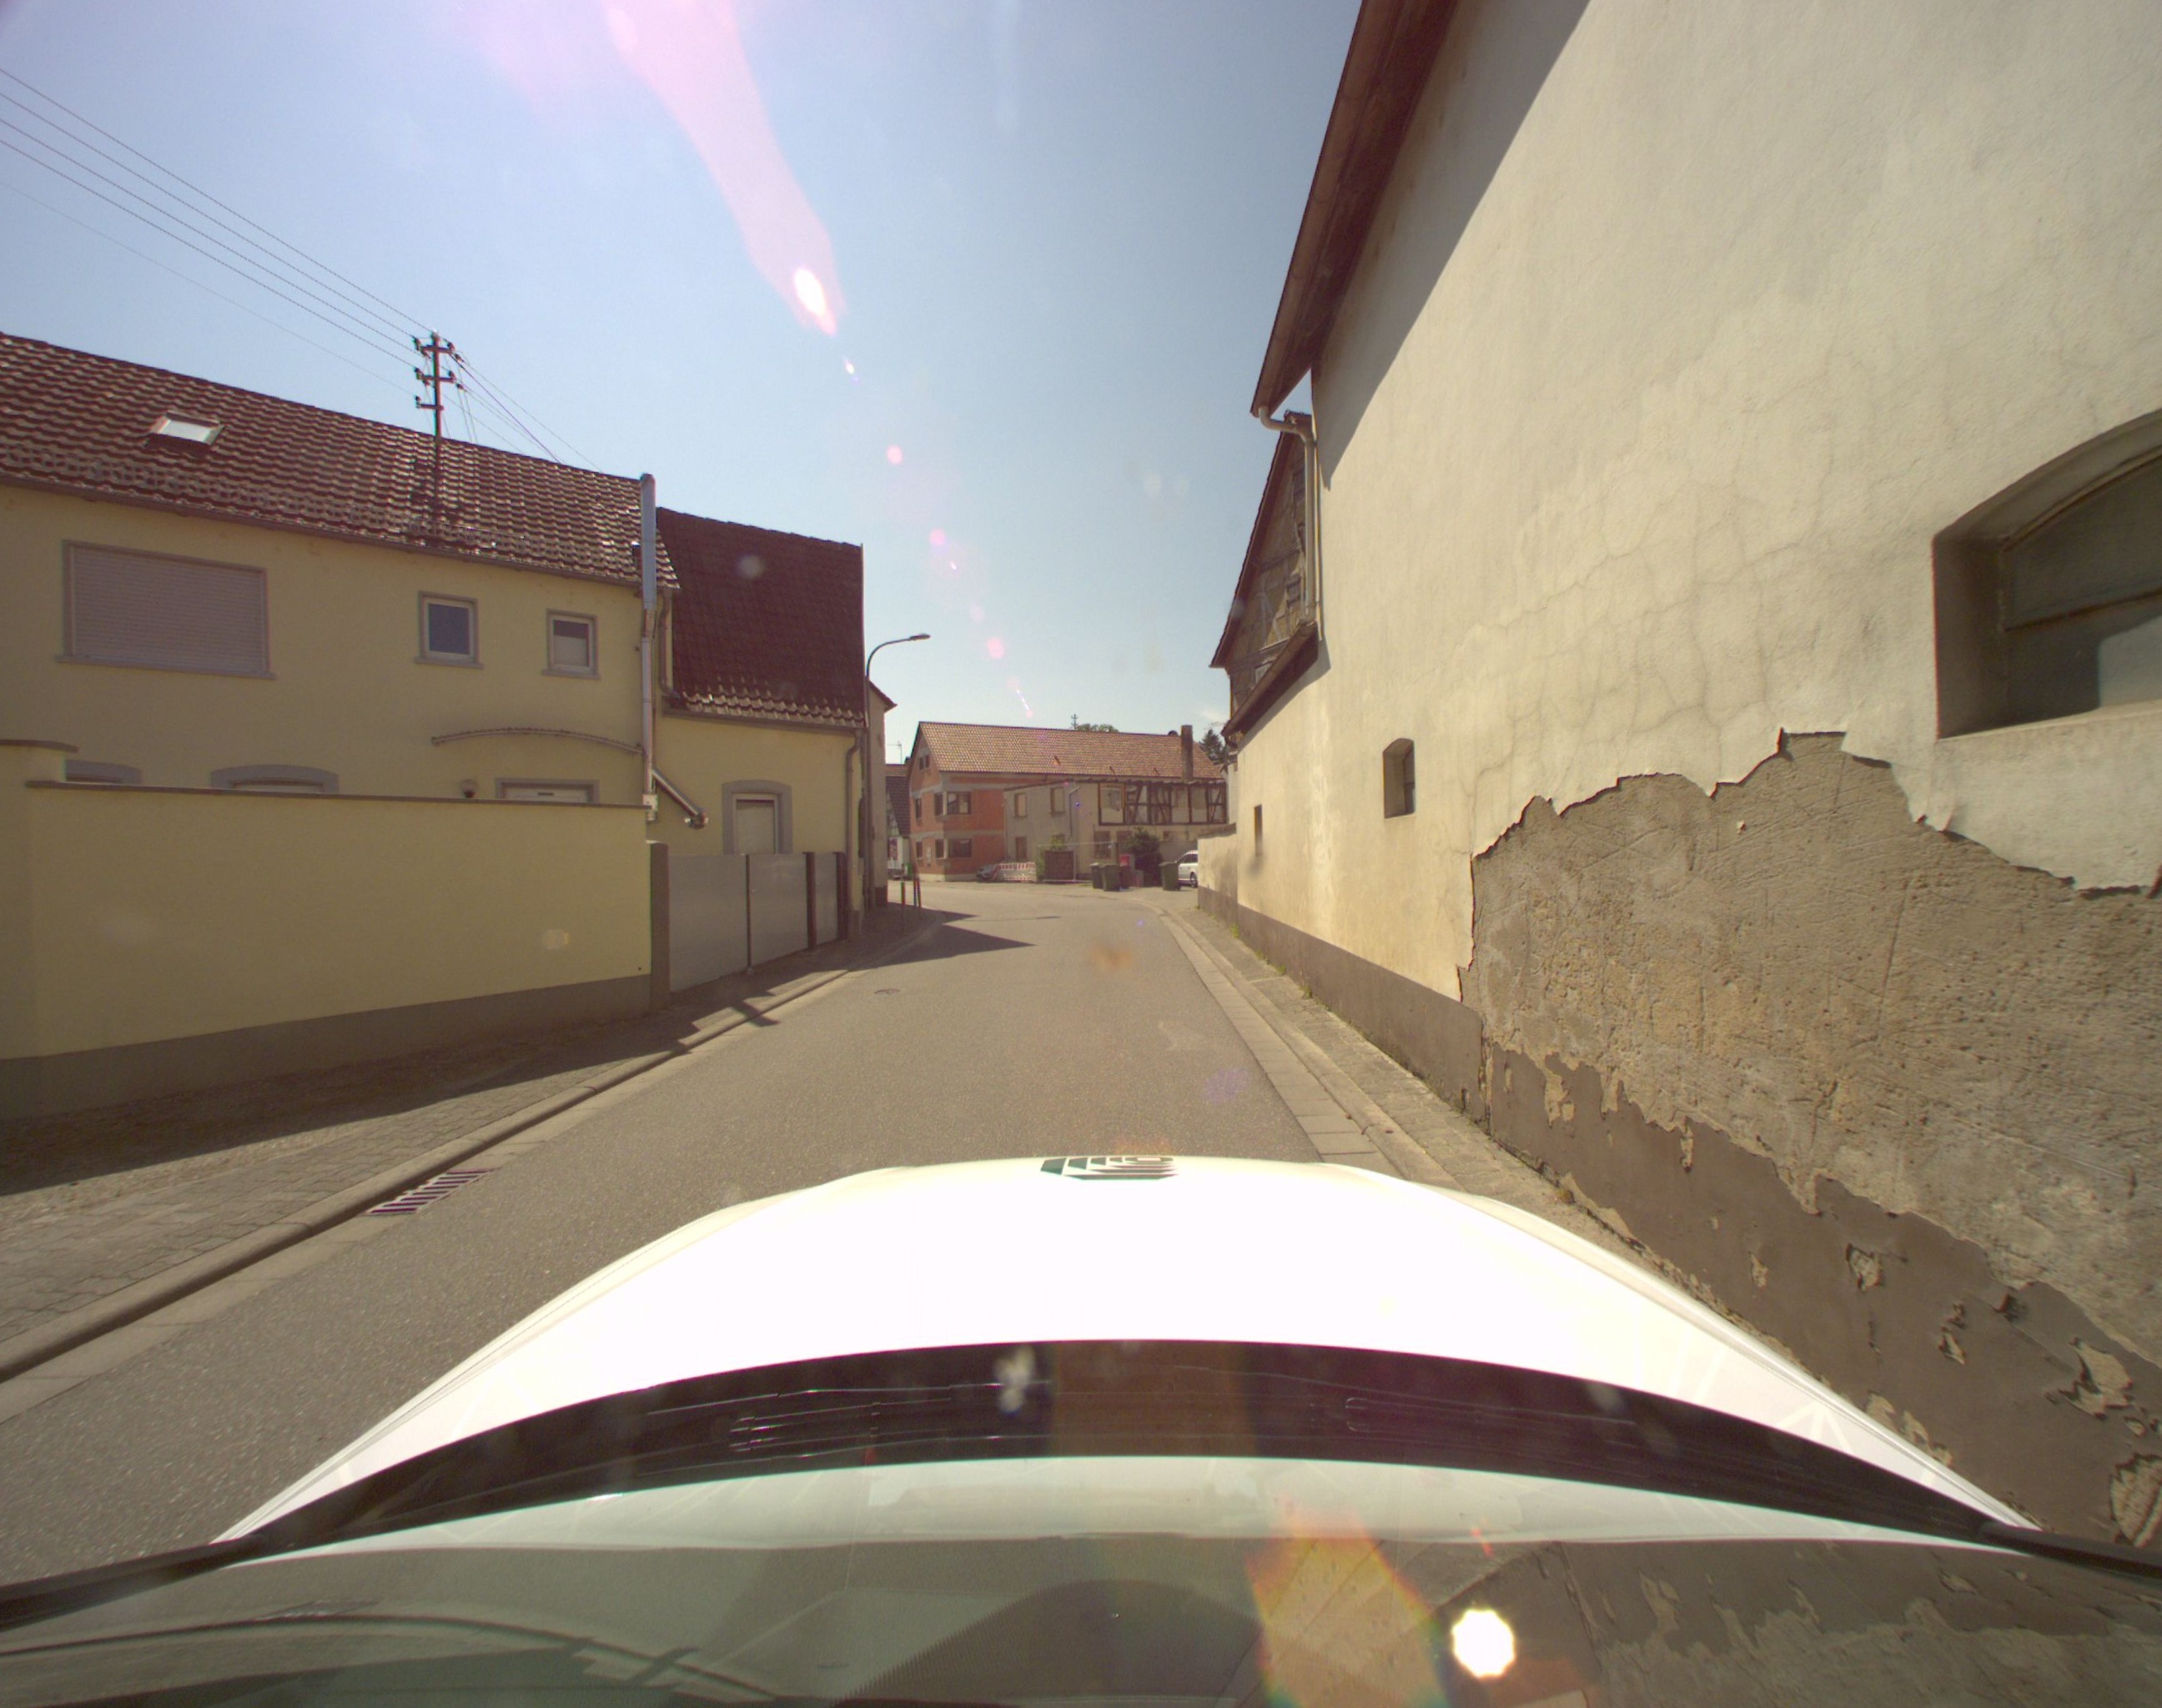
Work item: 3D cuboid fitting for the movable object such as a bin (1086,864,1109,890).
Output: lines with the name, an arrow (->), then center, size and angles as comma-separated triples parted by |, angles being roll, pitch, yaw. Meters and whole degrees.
movable object such as a bin -> 0.715, 0.968, 34.729 | 0.664, 1.072, 0.766 | -1, 0, 29

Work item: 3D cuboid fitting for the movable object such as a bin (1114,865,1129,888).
movable object such as a bin -> 1.692, 0.928, 33.803 | 0.466, 0.970, 0.492 | -1, 0, -21

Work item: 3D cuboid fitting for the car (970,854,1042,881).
car -> -4.664, 0.824, 50.821 | 4.118, 1.507, 1.850 | -2, 0, -34

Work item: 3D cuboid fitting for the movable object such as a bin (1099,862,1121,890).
movable object such as a bin -> 1.149, 0.863, 32.466 | 0.689, 1.092, 0.633 | -1, 0, -21

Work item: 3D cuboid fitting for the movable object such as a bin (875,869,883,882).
movable object such as a bin -> -14.661, 1.590, 59.164 | 0.538, 0.913, 0.549 | -1, -1, -12

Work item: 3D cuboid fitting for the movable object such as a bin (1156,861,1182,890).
movable object such as a bin -> 3.374, 0.834, 31.333 | 0.723, 1.081, 0.749 | -1, 0, -24

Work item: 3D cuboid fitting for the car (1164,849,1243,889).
car -> 5.049, 0.577, 34.068 | 1.813, 1.528, 4.277 | -1, 0, -13
